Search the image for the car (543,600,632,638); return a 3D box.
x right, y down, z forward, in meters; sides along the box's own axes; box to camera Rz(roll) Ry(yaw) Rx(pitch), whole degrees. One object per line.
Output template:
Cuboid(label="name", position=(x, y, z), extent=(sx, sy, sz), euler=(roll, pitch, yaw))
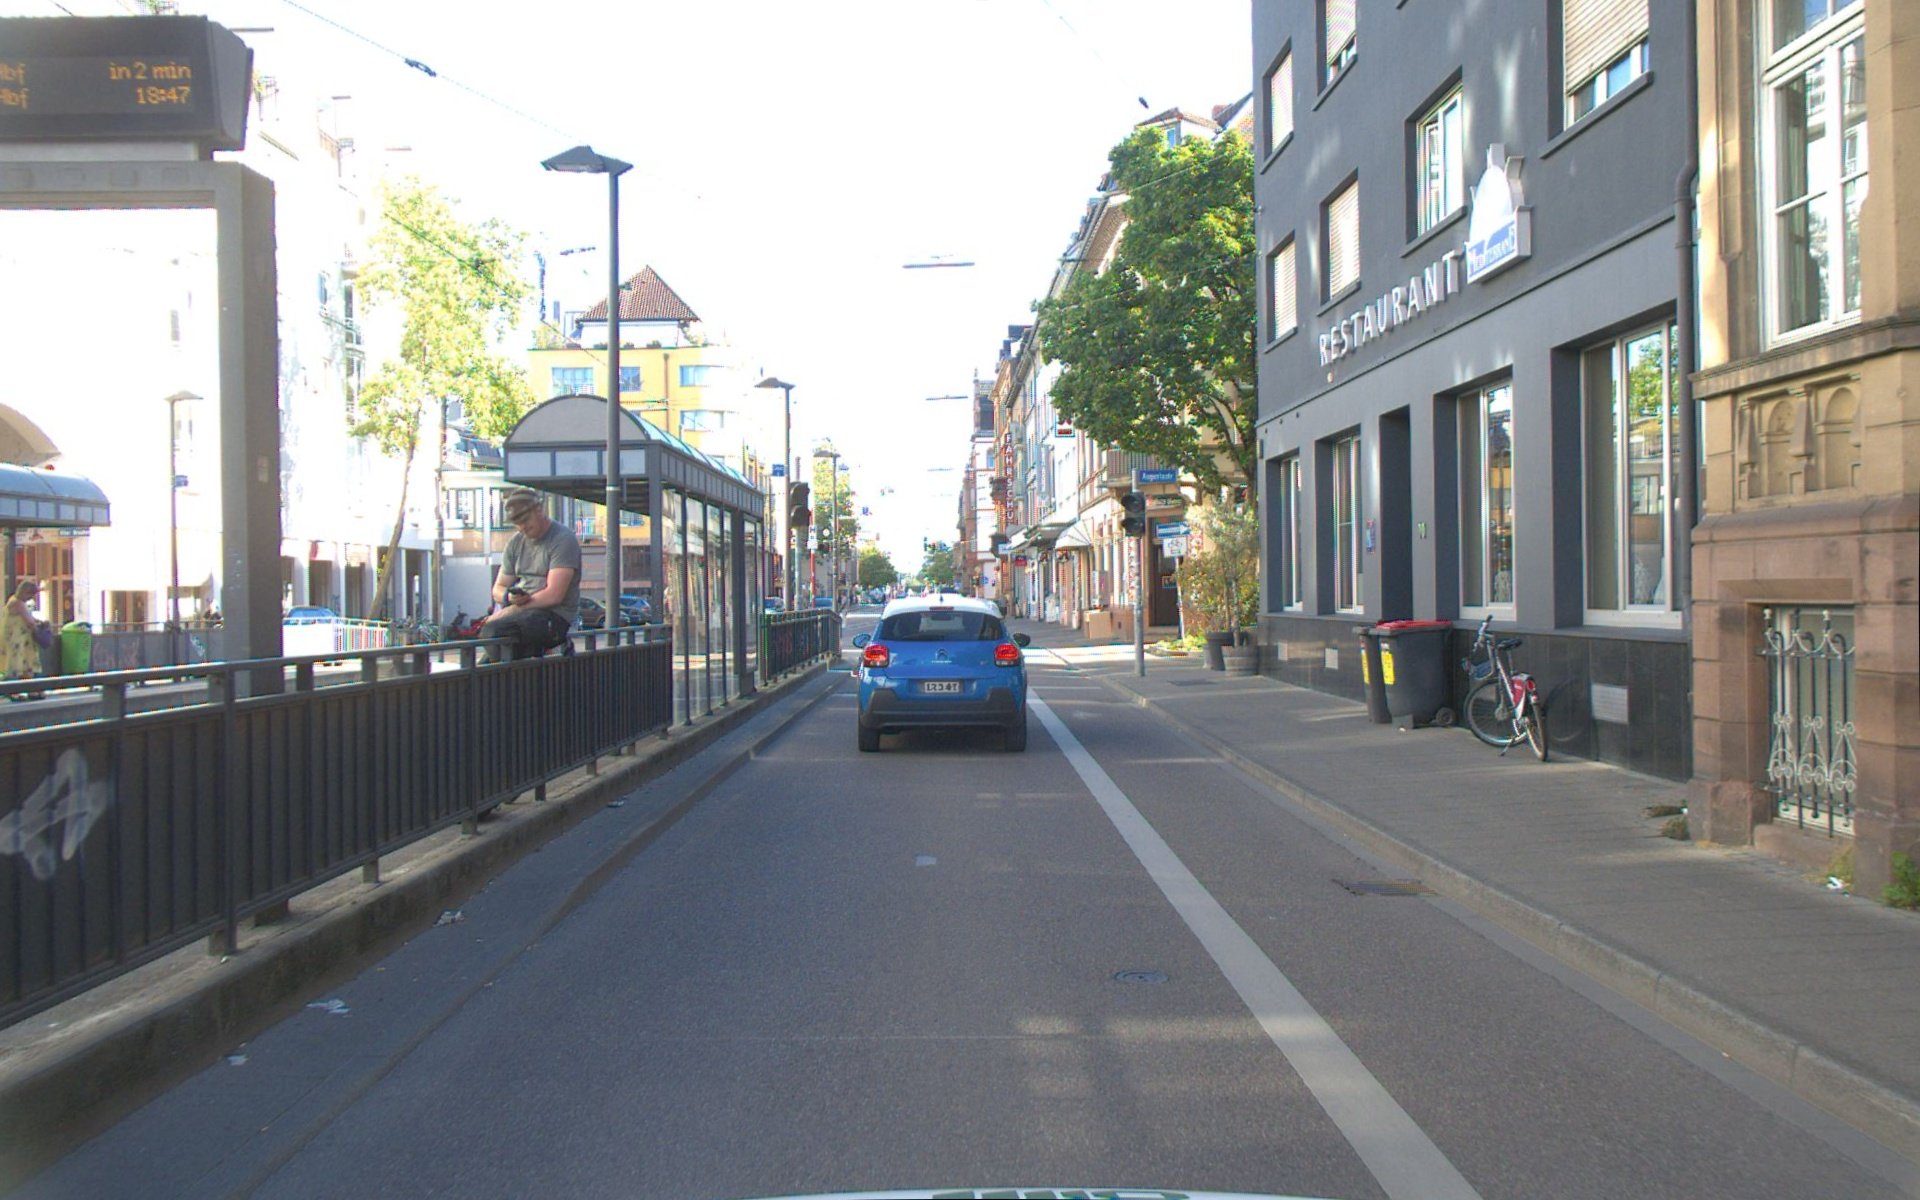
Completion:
Cuboid(label="car", position=(-18.146, 0.910, 80.715), extent=(3.909, 1.704, 1.956), euler=(-1, 0, -5))

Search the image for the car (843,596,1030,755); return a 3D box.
Cuboid(label="car", position=(-0.242, 0.701, 17.217), extent=(1.745, 1.476, 3.653), euler=(0, 0, -1))

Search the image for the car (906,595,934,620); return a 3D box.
Cuboid(label="car", position=(-2.892, 0.547, 119.398), extent=(1.953, 1.773, 3.999), euler=(0, -1, -1))

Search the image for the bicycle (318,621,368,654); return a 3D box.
Cuboid(label="bicycle", position=(-19.457, 1.179, 52.179), extent=(0.384, 0.957, 1.490), euler=(-2, 0, 34))

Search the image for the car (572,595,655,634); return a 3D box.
Cuboid(label="car", position=(-17.785, 0.736, 85.130), extent=(3.909, 1.880, 1.956), euler=(-1, 0, -5))

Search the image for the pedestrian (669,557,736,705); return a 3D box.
Cuboid(label="pedestrian", position=(-3.199, 0.373, 20.511), extent=(0.557, 1.781, 0.712), euler=(-2, 0, -30))

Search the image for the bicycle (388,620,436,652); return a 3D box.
Cuboid(label="bicycle", position=(-17.432, 1.141, 52.620), extent=(0.384, 0.957, 1.490), euler=(-2, 0, 34))

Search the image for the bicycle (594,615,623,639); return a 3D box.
Cuboid(label="bicycle", position=(-15.719, 1.195, 74.004), extent=(0.665, 1.020, 2.686), euler=(-1, 0, 0))

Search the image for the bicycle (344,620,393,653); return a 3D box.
Cuboid(label="bicycle", position=(-18.350, 1.142, 51.347), extent=(0.384, 0.957, 1.490), euler=(-2, 0, 34))

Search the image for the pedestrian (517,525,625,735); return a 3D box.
Cuboid(label="pedestrian", position=(-3.467, 0.262, 14.734), extent=(0.704, 1.808, 0.563), euler=(-2, 0, 35))

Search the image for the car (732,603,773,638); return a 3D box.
Cuboid(label="car", position=(-10.898, 1.060, 87.119), extent=(1.718, 1.643, 4.824), euler=(-3, 0, -3))

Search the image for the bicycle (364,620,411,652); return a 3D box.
Cuboid(label="bicycle", position=(-18.456, 1.156, 53.345), extent=(0.384, 0.957, 1.490), euler=(-2, 0, 34))

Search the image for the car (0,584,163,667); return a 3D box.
Cuboid(label="car", position=(-16.840, 0.441, 31.381), extent=(1.657, 1.446, 3.646), euler=(-1, 1, 0))

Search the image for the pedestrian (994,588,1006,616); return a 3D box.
Cuboid(label="pedestrian", position=(2.401, 0.115, 99.620), extent=(0.679, 1.680, 0.680), euler=(-1, 0, -2))

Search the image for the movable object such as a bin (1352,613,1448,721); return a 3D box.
Cuboid(label="movable object such as a bin", position=(4.668, 0.696, 17.578), extent=(0.733, 1.054, 0.753), euler=(-5, 0, -1))

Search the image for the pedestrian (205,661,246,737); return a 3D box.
Cuboid(label="pedestrian", position=(-16.035, 2.160, 36.123), extent=(0.569, 1.586, 0.684), euler=(-1, 1, -2))

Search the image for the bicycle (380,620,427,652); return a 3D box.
Cuboid(label="bicycle", position=(-17.781, 1.144, 52.866), extent=(0.384, 0.957, 1.490), euler=(-2, 0, 34))

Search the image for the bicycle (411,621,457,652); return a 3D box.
Cuboid(label="bicycle", position=(-17.300, 1.202, 54.421), extent=(0.384, 0.957, 1.490), euler=(-2, 0, 34))

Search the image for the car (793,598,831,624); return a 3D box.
Cuboid(label="car", position=(-9.121, 0.659, 102.281), extent=(1.911, 1.512, 4.000), euler=(-3, 0, 0))

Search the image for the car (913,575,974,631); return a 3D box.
Cuboid(label="car", position=(-0.555, 0.121, 54.760), extent=(1.953, 1.773, 3.999), euler=(0, -1, -1))

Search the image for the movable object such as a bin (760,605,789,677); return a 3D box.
Cuboid(label="movable object such as a bin", position=(-2.695, 0.592, 24.020), extent=(0.339, 1.025, 0.404), euler=(-2, 0, 0))

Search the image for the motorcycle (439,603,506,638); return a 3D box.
Cuboid(label="motorcycle", position=(-19.519, 0.814, 66.283), extent=(2.463, 1.311, 0.667), euler=(-1, 0, -4))

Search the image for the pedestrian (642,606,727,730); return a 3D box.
Cuboid(label="pedestrian", position=(-2.992, 0.726, 18.040), extent=(0.749, 1.294, 0.719), euler=(-2, 0, 1))

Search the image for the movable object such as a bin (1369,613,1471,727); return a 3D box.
Cuboid(label="movable object such as a bin", position=(4.669, 0.699, 16.822), extent=(0.733, 1.054, 0.753), euler=(-5, 0, -1))

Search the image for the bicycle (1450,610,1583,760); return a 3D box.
Cuboid(label="bicycle", position=(4.630, 0.675, 13.866), extent=(0.450, 1.142, 1.773), euler=(-3, 0, -1))

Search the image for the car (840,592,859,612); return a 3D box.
Cuboid(label="car", position=(-11.664, 0.176, 174.786), extent=(1.954, 2.049, 3.997), euler=(0, -1, -3))

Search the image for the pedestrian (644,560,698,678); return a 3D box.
Cuboid(label="pedestrian", position=(-3.962, 0.253, 22.710), extent=(0.608, 1.586, 0.568), euler=(-1, 0, -1))

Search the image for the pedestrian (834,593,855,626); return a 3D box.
Cuboid(label="pedestrian", position=(-5.882, 0.484, 84.180), extent=(0.829, 1.683, 0.691), euler=(-1, 0, -29))

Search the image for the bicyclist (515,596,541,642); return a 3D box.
Cuboid(label="bicyclist", position=(-15.142, 0.649, 57.947), extent=(0.658, 1.584, 0.778), euler=(-1, 0, 0))

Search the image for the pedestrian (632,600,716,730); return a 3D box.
Cuboid(label="pedestrian", position=(-2.956, 0.659, 17.153), extent=(0.696, 1.294, 0.657), euler=(-2, 0, 1))

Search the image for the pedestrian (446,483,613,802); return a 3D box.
Cuboid(label="pedestrian", position=(-2.443, 0.238, 9.472), extent=(0.623, 1.727, 0.934), euler=(0, -1, 6))

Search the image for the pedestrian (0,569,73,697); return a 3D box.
Cuboid(label="pedestrian", position=(-11.845, 0.404, 21.019), extent=(0.716, 1.586, 0.742), euler=(-1, 1, -2))

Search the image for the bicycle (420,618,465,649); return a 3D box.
Cuboid(label="bicycle", position=(-16.938, 1.086, 54.153), extent=(0.384, 0.957, 1.490), euler=(-2, 0, 34))

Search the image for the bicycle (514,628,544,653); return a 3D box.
Cuboid(label="bicycle", position=(-15.094, 1.411, 57.948), extent=(0.554, 0.770, 1.937), euler=(-1, 0, 0))

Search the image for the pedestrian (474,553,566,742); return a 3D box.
Cuboid(label="pedestrian", position=(-3.806, 0.400, 14.298), extent=(0.575, 1.589, 0.468), euler=(-2, 0, 35))
